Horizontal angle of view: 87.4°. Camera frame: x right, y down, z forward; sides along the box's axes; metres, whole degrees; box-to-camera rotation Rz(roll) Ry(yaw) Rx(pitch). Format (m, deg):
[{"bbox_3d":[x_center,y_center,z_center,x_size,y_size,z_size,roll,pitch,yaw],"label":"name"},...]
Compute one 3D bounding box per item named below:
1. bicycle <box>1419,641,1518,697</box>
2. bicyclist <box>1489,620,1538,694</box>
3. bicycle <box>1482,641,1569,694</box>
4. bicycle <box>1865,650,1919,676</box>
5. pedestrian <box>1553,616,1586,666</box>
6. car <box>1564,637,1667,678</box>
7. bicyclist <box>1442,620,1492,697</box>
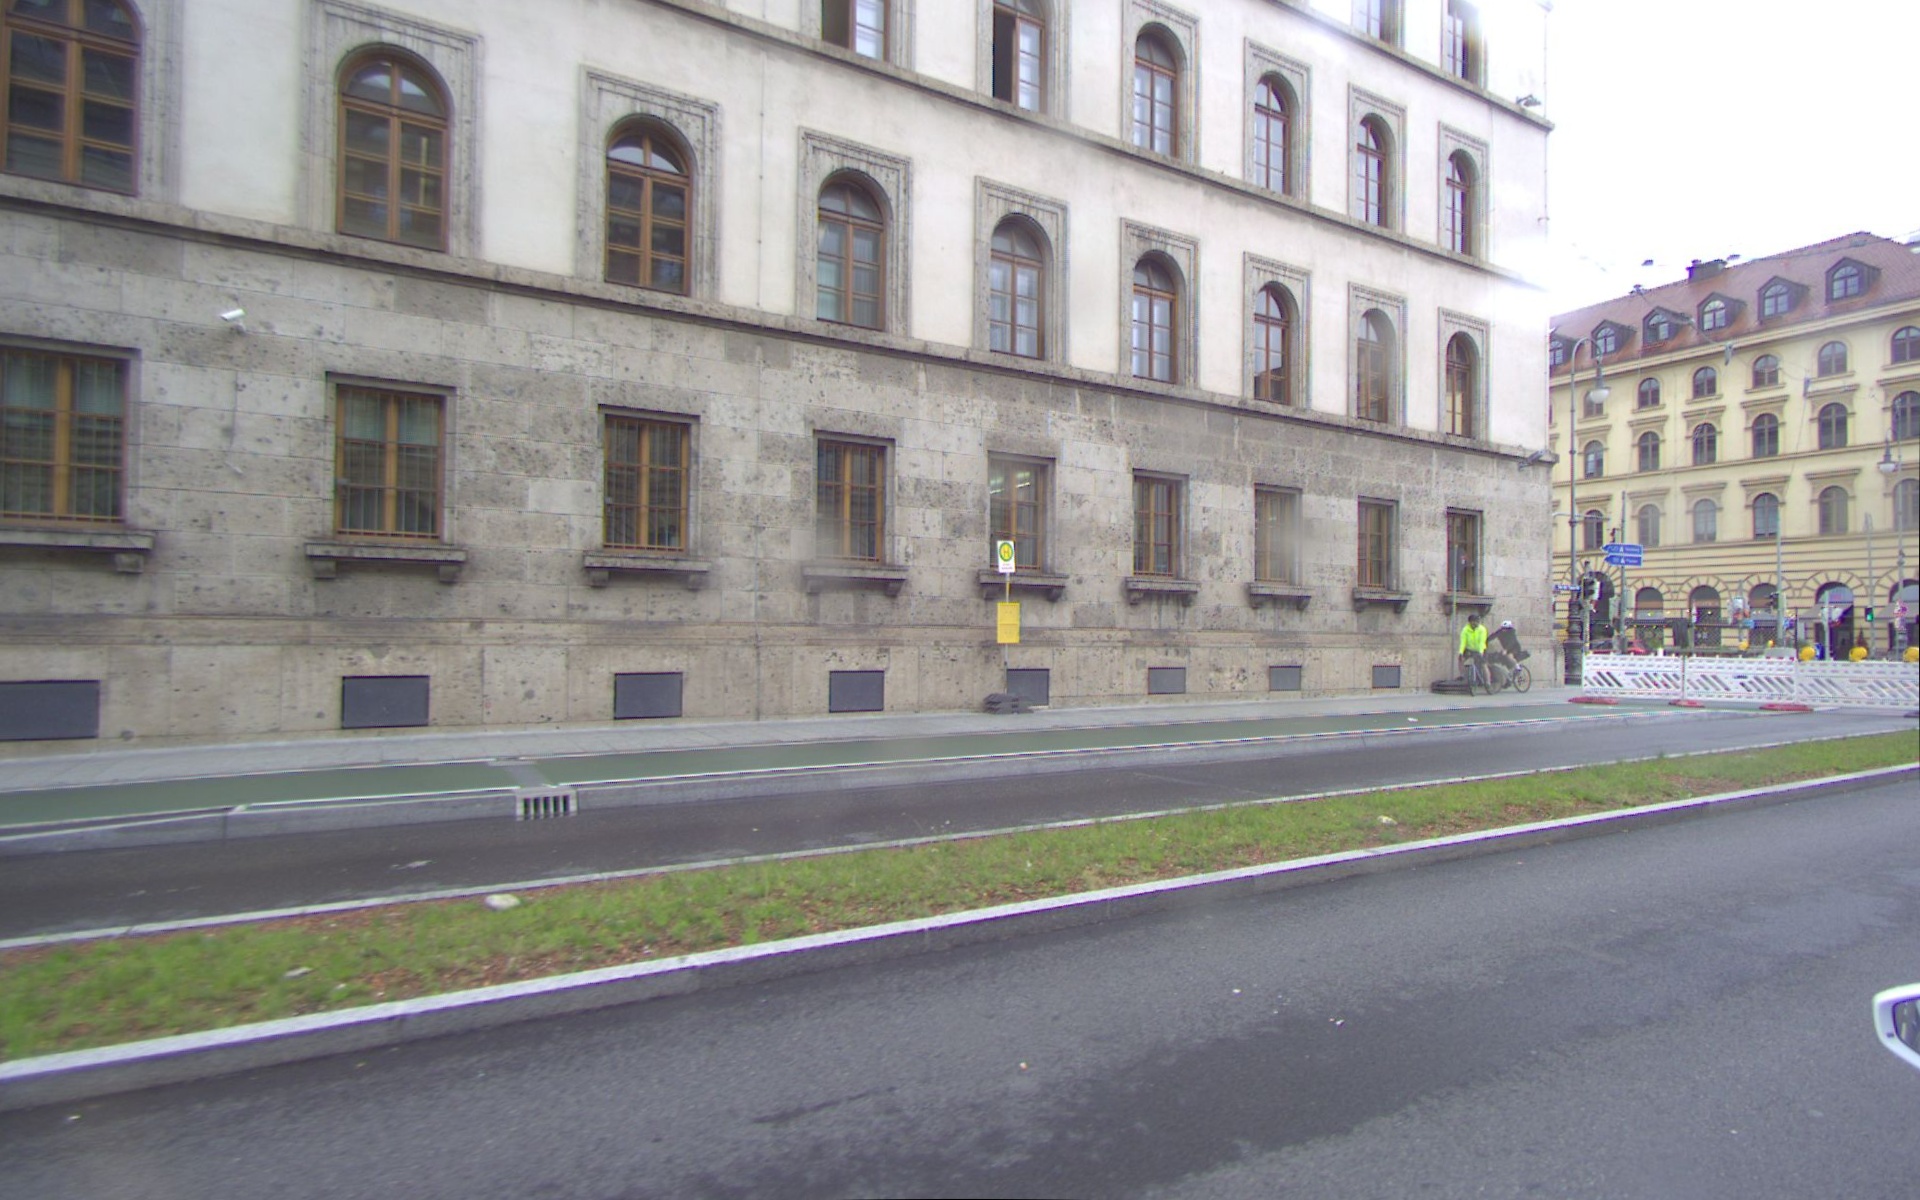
[{"bbox_3d":[12.061,1.614,23.801,2.416,1.259,0.784,1,-1,-26],"label":"bicycle"},{"bbox_3d":[13.715,1.402,24.899,0.679,1.799,0.795,1,0,-26],"label":"bicyclist"},{"bbox_3d":[14.146,1.663,25.121,2.169,1.259,0.784,1,0,-26],"label":"bicycle"},{"bbox_3d":[42.168,2.838,45.132,2.163,1.113,0.598,-1,-2,37],"label":"bicycle"},{"bbox_3d":[22.268,1.507,36.714,0.724,1.795,0.737,1,0,-15],"label":"pedestrian"},{"bbox_3d":[31.257,2.700,47.961,1.848,1.822,3.720,2,-2,-32],"label":"car"},{"bbox_3d":[12.003,1.359,23.774,0.679,1.772,0.795,1,0,-26],"label":"bicyclist"}]
